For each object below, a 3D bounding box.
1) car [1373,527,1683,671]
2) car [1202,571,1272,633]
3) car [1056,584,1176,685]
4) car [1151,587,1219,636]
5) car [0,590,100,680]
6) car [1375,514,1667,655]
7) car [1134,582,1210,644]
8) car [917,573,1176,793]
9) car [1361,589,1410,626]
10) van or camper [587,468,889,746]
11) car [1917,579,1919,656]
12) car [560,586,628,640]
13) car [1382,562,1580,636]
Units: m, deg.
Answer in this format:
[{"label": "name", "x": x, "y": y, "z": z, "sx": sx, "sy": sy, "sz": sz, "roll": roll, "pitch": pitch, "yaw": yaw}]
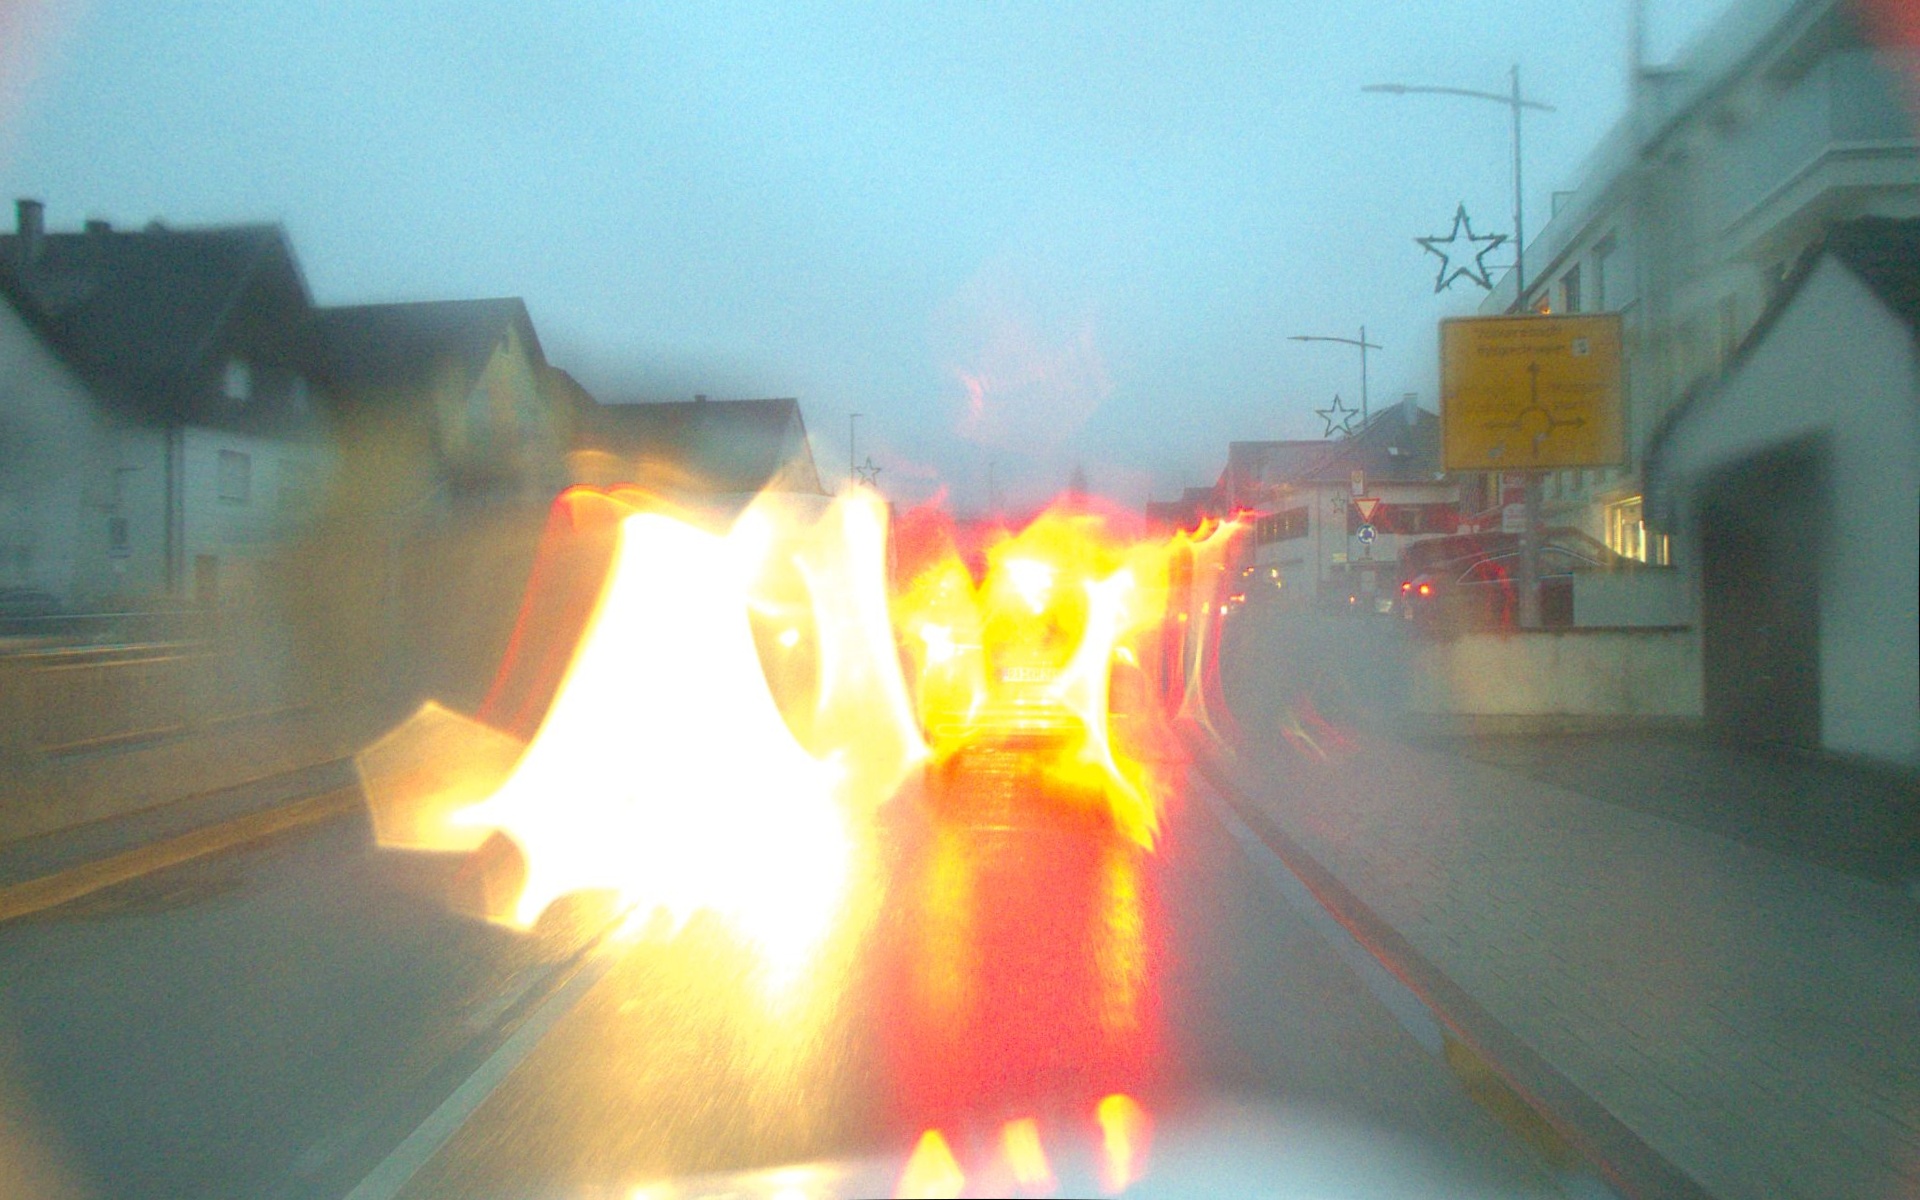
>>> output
[{"label": "car", "x": 8.782, "y": -0.020, "z": 25.818, "sx": 4.091, "sy": 1.666, "sz": 1.804, "roll": -7, "pitch": 0, "yaw": 2}, {"label": "car", "x": 10.100, "y": 0.052, "z": 60.099, "sx": 2.112, "sy": 2.026, "sz": 4.503, "roll": -4, "pitch": 0, "yaw": 13}, {"label": "car", "x": 2.666, "y": 0.518, "z": 27.563, "sx": 1.646, "sy": 1.478, "sz": 4.004, "roll": -2, "pitch": 1, "yaw": 10}, {"label": "car", "x": 6.822, "y": 0.320, "z": 49.866, "sx": 1.951, "sy": 1.416, "sz": 4.004, "roll": 0, "pitch": 0, "yaw": 9}, {"label": "car", "x": -19.264, "y": 0.676, "z": 32.962, "sx": 1.870, "sy": 1.712, "sz": 4.219, "roll": -1, "pitch": 1, "yaw": 3}, {"label": "car", "x": 9.852, "y": -0.246, "z": 29.377, "sx": 4.467, "sy": 1.953, "sz": 1.951, "roll": -6, "pitch": -1, "yaw": 8}, {"label": "car", "x": 5.276, "y": 0.289, "z": 41.410, "sx": 1.776, "sy": 1.436, "sz": 4.003, "roll": 1, "pitch": 1, "yaw": 6}, {"label": "car", "x": 0.795, "y": 0.595, "z": 14.635, "sx": 1.923, "sy": 1.622, "sz": 4.315, "roll": 1, "pitch": 1, "yaw": 4}, {"label": "car", "x": 18.829, "y": 0.318, "z": 73.147, "sx": 1.533, "sy": 1.437, "sz": 3.601, "roll": -4, "pitch": -1, "yaw": 22}, {"label": "van or camper", "x": -2.339, "y": 0.050, "z": 19.587, "sx": 2.193, "sy": 2.715, "sz": 6.559, "roll": -1, "pitch": 0, "yaw": 4}, {"label": "car", "x": 5.496, "y": 0.574, "z": 5.650, "sx": 1.733, "sy": 1.418, "sz": 3.905, "roll": -2, "pitch": 0, "yaw": -10}, {"label": "car", "x": -11.781, "y": 0.376, "z": 53.111, "sx": 1.793, "sy": 1.641, "sz": 4.037, "roll": -1, "pitch": 1, "yaw": -17}, {"label": "car", "x": 12.259, "y": -0.024, "z": 39.113, "sx": 4.117, "sy": 1.485, "sz": 1.794, "roll": -3, "pitch": -1, "yaw": 4}]
